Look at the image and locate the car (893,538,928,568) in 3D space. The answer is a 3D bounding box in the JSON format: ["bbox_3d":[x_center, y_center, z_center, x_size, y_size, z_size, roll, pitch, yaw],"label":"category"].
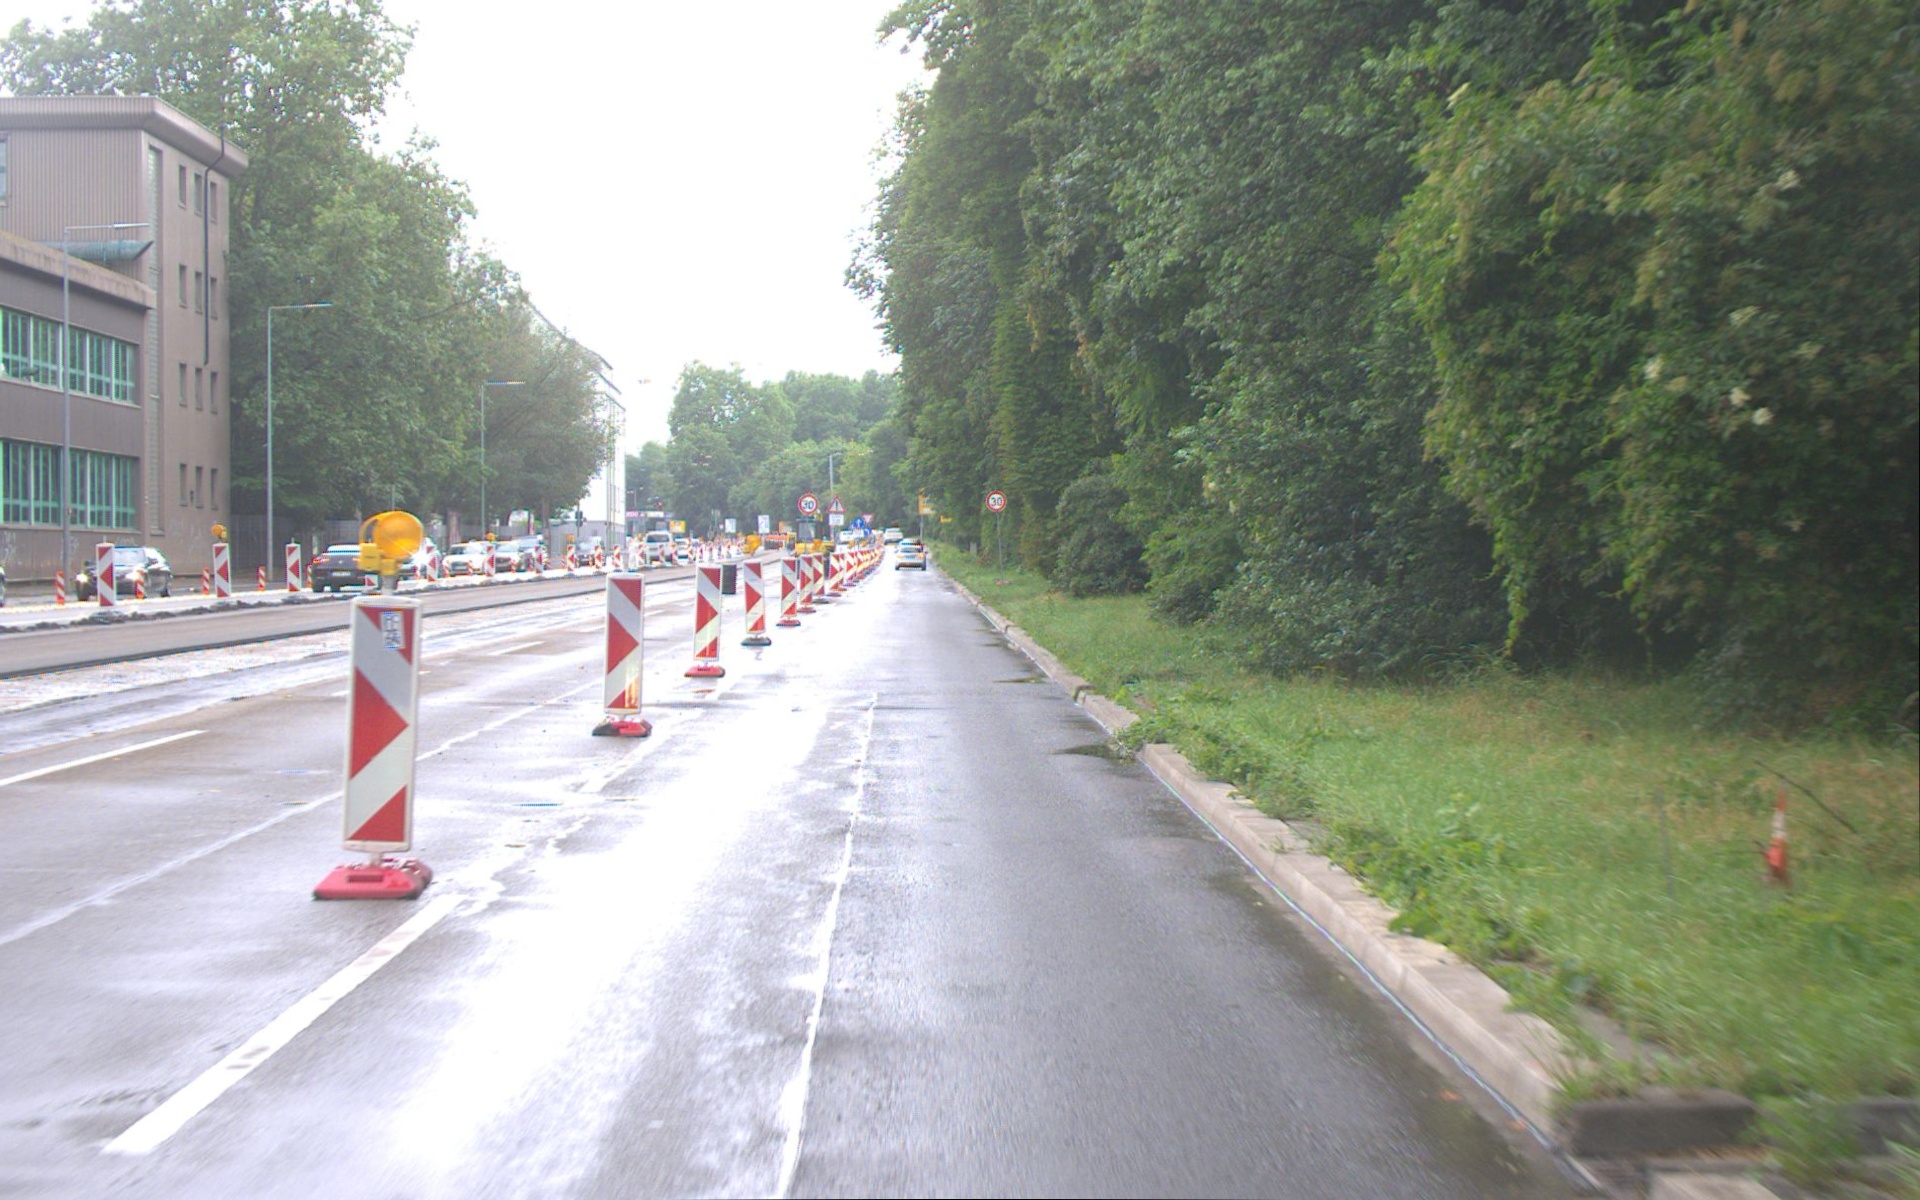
[{"bbox_3d":[-2.869,-2.758,201.057,1.993,1.667,4.000,1,0,-1],"label":"car"}]

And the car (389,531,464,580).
[{"bbox_3d":[-19.998,-1.652,129.059,1.989,1.762,4.674,1,0,1],"label":"car"}]

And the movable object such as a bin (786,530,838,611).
[{"bbox_3d":[-6.322,-1.270,147.709,1.993,3.356,5.982,1,0,-1],"label":"movable object such as a bin"}]

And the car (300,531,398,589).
[{"bbox_3d":[-16.686,-1.092,94.054,1.993,1.514,4.000,1,0,-1],"label":"car"}]

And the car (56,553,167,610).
[{"bbox_3d":[-22.701,-0.506,92.128,2.046,1.449,4.765,1,0,-3],"label":"car"}]
